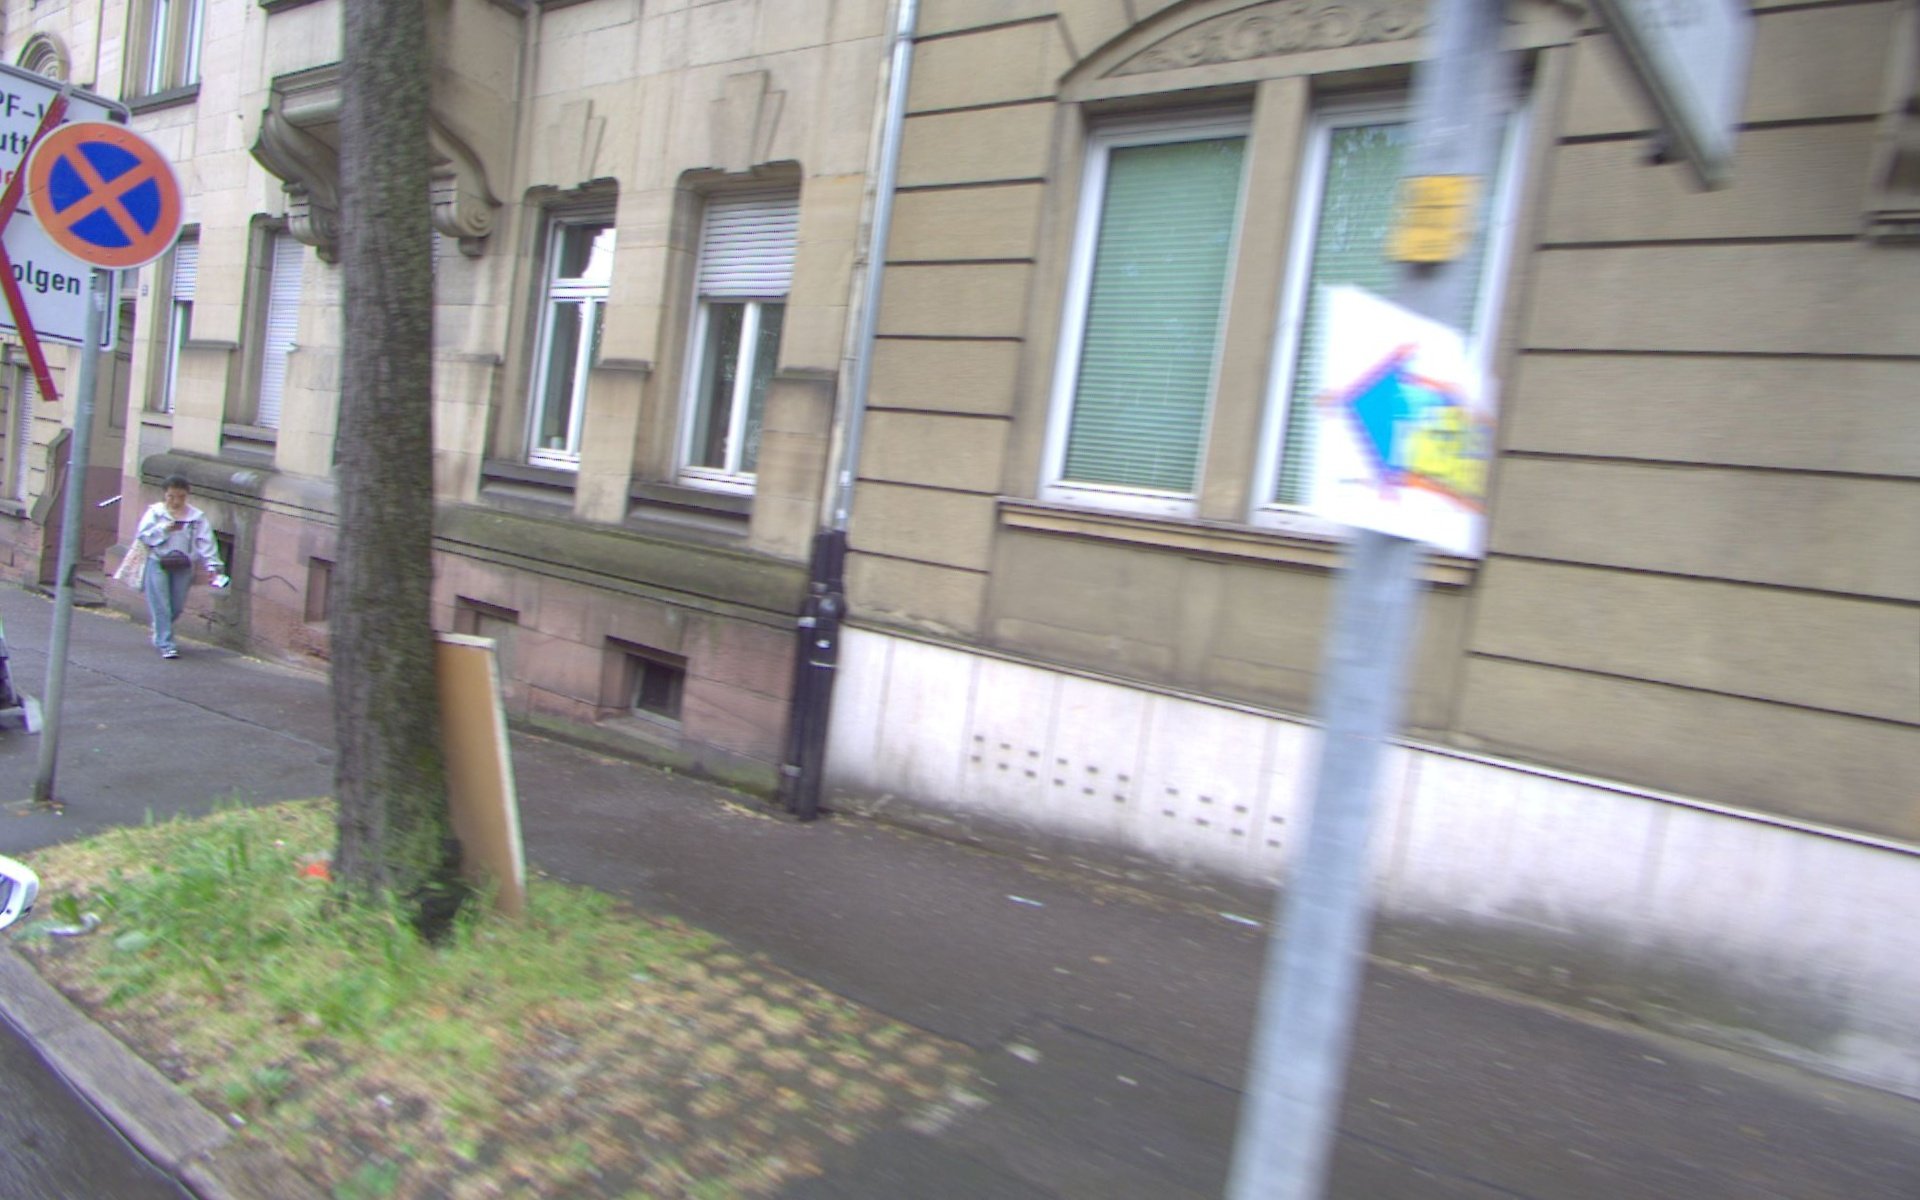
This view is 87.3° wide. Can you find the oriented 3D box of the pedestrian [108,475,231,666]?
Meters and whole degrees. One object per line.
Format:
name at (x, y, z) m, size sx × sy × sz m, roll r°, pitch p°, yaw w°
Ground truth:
pedestrian at (-6.792, -0.258, 8.646) m, size 0.682 × 1.530 × 0.630 m, roll 7°, pitch 5°, yaw 32°
